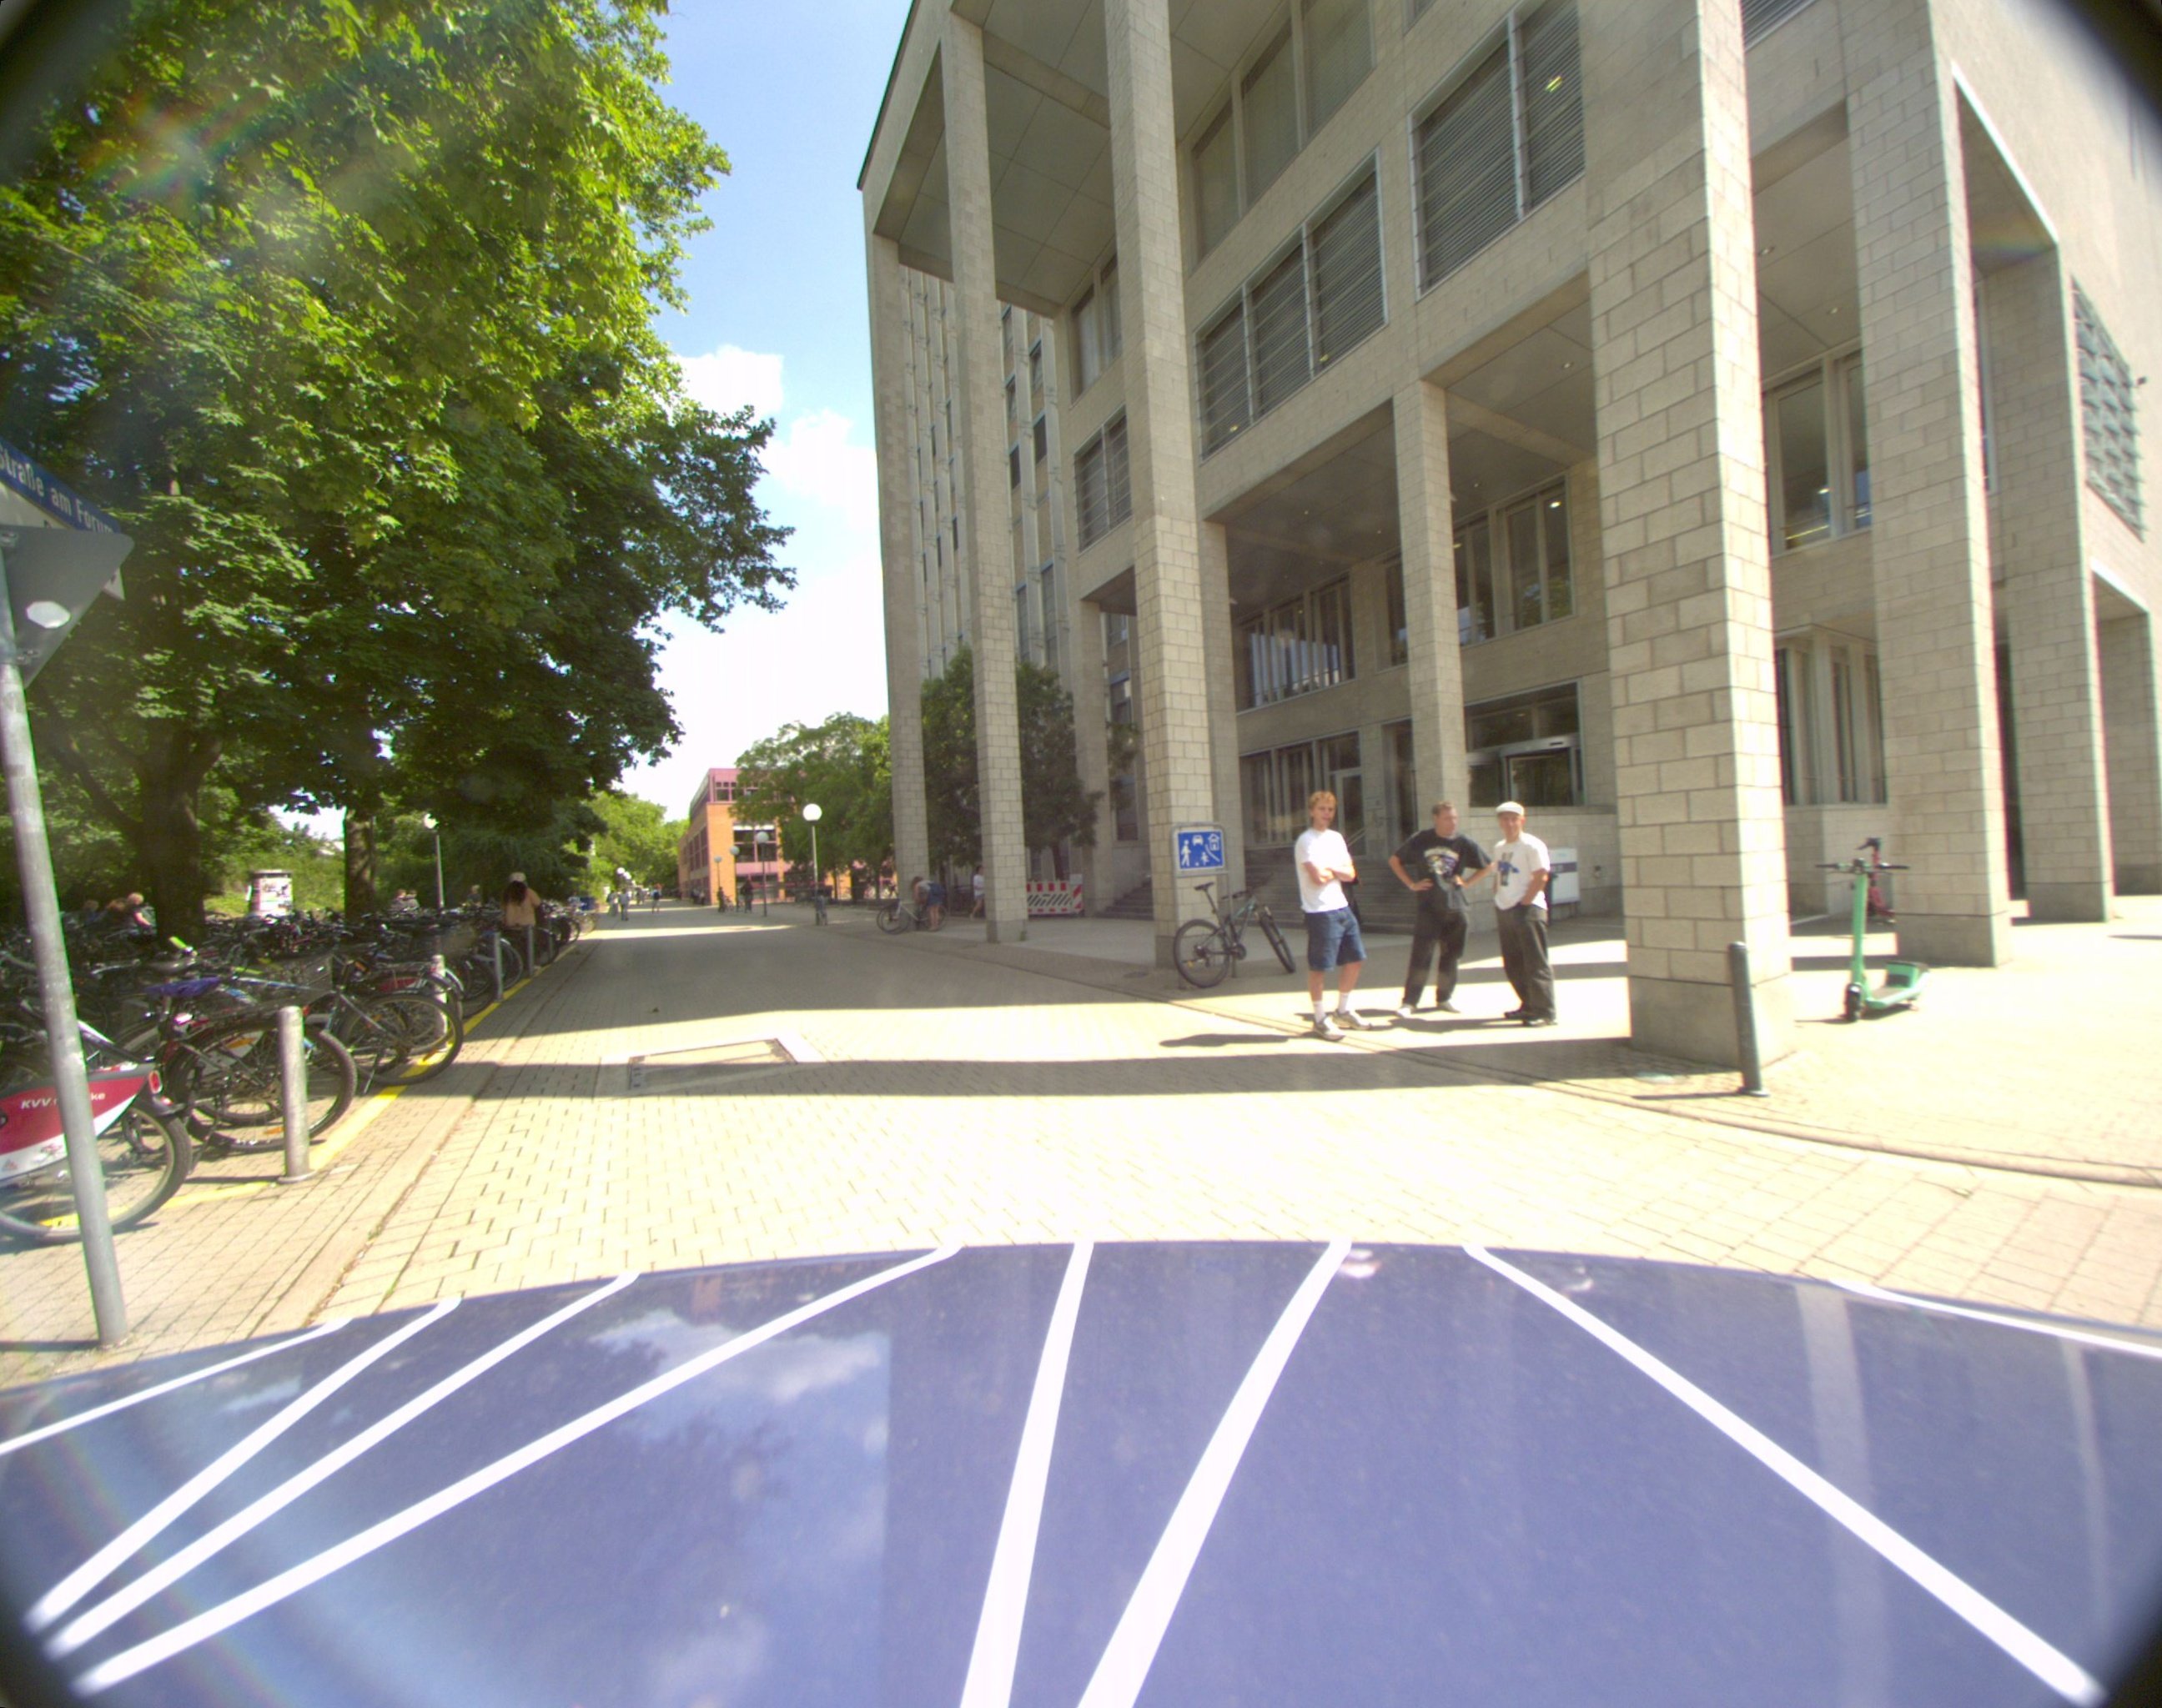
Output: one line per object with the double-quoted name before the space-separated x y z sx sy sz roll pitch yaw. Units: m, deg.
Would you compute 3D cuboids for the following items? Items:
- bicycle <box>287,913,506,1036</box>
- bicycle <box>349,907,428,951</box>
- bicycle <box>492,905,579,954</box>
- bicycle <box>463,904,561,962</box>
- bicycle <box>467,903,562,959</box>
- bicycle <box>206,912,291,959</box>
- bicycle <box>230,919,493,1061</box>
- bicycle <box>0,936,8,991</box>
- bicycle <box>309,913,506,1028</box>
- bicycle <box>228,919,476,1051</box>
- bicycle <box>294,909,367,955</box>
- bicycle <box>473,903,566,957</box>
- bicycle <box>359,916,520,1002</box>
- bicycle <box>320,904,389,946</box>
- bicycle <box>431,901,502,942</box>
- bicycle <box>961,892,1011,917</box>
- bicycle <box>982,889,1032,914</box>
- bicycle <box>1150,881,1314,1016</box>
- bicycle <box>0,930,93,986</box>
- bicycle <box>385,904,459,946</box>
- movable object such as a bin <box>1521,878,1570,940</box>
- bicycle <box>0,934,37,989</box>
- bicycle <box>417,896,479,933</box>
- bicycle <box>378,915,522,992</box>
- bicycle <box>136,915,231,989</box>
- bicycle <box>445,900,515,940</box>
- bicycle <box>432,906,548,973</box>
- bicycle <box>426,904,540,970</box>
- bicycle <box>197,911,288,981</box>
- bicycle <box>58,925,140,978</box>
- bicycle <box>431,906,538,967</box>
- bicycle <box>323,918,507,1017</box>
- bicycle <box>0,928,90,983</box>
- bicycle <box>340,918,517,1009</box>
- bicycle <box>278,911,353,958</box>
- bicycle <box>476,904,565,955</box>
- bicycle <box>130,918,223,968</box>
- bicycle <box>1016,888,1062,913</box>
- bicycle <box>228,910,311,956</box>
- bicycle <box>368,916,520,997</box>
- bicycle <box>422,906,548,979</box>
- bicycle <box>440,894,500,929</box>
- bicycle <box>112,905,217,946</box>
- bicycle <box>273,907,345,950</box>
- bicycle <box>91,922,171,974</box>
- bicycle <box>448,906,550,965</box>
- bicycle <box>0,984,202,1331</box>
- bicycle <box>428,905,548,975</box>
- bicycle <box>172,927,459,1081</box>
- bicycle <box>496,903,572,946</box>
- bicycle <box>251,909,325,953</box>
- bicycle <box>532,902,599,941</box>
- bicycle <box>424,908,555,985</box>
"bicycle" -7.559 1.297 8.501 1.699 1.144 0.626 -1 1 -28
"bicycle" -18.734 2.021 20.567 1.687 1.077 0.479 -3 -3 1
"bicycle" -13.448 1.846 18.774 1.691 1.077 0.478 -1 -3 -35
"bicycle" -12.483 1.721 16.728 1.691 1.122 0.478 -1 -3 -35
"bicycle" -12.800 1.733 17.220 1.691 1.122 0.478 -1 -3 -35
"bicycle" -21.233 2.081 19.383 1.687 1.077 0.479 -3 -3 2
"bicycle" -6.712 1.232 7.202 1.698 1.119 0.565 -1 1 -25
"bicycle" -22.156 2.218 15.121 1.469 1.077 0.353 -4 -3 11
"bicycle" -7.942 1.335 9.064 1.699 1.143 0.626 -1 -3 -38
"bicycle" -7.370 1.288 7.791 1.698 1.119 0.626 -1 1 -25
"bicycle" -19.175 1.998 19.431 1.471 1.077 0.353 -3 -2 -2
"bicycle" -13.092 1.759 17.763 1.691 1.122 0.478 -1 -3 -35
"bicycle" -9.142 1.469 10.917 1.691 1.040 0.616 -1 -3 -35
"bicycle" -20.690 2.015 21.634 1.686 1.077 0.479 -4 -3 9
"bicycle" -17.906 1.966 22.166 1.687 1.077 0.479 -3 -3 1
"bicycle" -3.171 1.657 25.212 0.645 0.755 1.984 -1 0 -40
"bicycle" -2.507 1.577 25.589 0.645 0.755 1.984 -1 0 -40
"bicycle" 1.688 0.981 8.354 1.832 1.235 0.530 -4 1 -31
"bicycle" -21.938 2.189 16.082 1.471 1.077 0.353 -3 -2 -4
"bicycle" -18.551 1.995 21.395 1.687 1.077 0.479 -3 -3 1
"movable object such as a bin" 7.654 0.891 12.521 0.513 0.944 0.512 -2 2 -32
"bicycle" -22.086 2.207 15.481 1.469 1.077 0.353 -4 -3 11
"bicycle" -20.321 1.933 24.398 1.686 1.077 0.479 -4 -3 7
"bicycle" -9.891 1.534 11.979 1.691 1.040 0.500 -1 -3 -35
"bicycle" -15.102 1.634 12.776 1.841 1.163 0.414 -2 0 21
"bicycle" -17.898 1.953 22.643 1.687 1.077 0.479 -3 -3 1
"bicycle" -11.117 1.592 14.362 1.691 1.122 0.453 -1 -3 -35
"bicycle" -11.564 1.586 14.758 1.691 1.122 0.453 -1 -3 -35
"bicycle" -14.847 1.611 13.450 1.841 1.163 0.414 -2 0 21
"bicycle" -21.879 2.164 16.929 1.685 1.077 0.479 -4 -3 14
"bicycle" -12.238 1.675 15.653 1.691 1.122 0.453 -1 -3 -35
"bicycle" -8.331 1.387 9.602 1.699 1.040 0.567 -1 -3 -38
"bicycle" -22.413 2.185 16.441 1.471 1.077 0.353 -3 -2 -1
"bicycle" -8.765 1.443 10.285 1.698 1.040 0.617 -2 -3 -22
"bicycle" -19.162 2.009 19.033 1.471 1.077 0.353 -3 -2 -2
"bicycle" -13.365 1.793 18.169 1.691 1.077 0.478 -1 -3 -34
"bicycle" -21.543 2.120 18.101 1.687 1.077 0.479 -3 -3 2
"bicycle" -1.450 1.554 25.764 0.645 0.755 1.985 -1 0 -32
"bicycle" -21.214 2.067 19.869 1.687 1.077 0.479 -3 -3 2
"bicycle" -9.567 1.509 11.498 1.691 1.040 0.616 -1 -3 -35
"bicycle" -10.416 1.534 13.347 1.691 1.122 0.453 -1 -3 -35
"bicycle" -20.284 1.908 25.215 1.686 1.077 0.479 -4 -3 6
"bicycle" -25.559 1.969 21.229 0.585 0.926 1.754 0 2 17
"bicycle" -21.172 2.043 20.835 1.686 1.077 0.479 -4 -3 9
"bicycle" -21.753 2.150 17.394 1.685 1.077 0.479 -4 -3 14
"bicycle" -12.356 1.716 16.181 1.691 1.122 0.453 -1 -3 -35
"bicycle" -4.423 1.175 2.732 1.492 1.135 0.560 -3 2 -33
"bicycle" -10.783 1.548 13.883 1.691 1.122 0.453 -1 -3 -35
"bicycle" -6.617 1.261 6.677 1.698 1.119 0.481 -1 1 -25
"bicycle" -15.370 1.964 21.399 1.691 1.077 0.478 -1 -3 -35
"bicycle" -21.242 2.057 20.344 1.686 1.077 0.479 -4 -3 9
"bicycle" -15.975 2.084 23.562 1.691 1.077 0.528 -1 -3 -35
"bicycle" -9.832 1.520 12.706 1.691 1.122 0.453 -1 -3 -35
